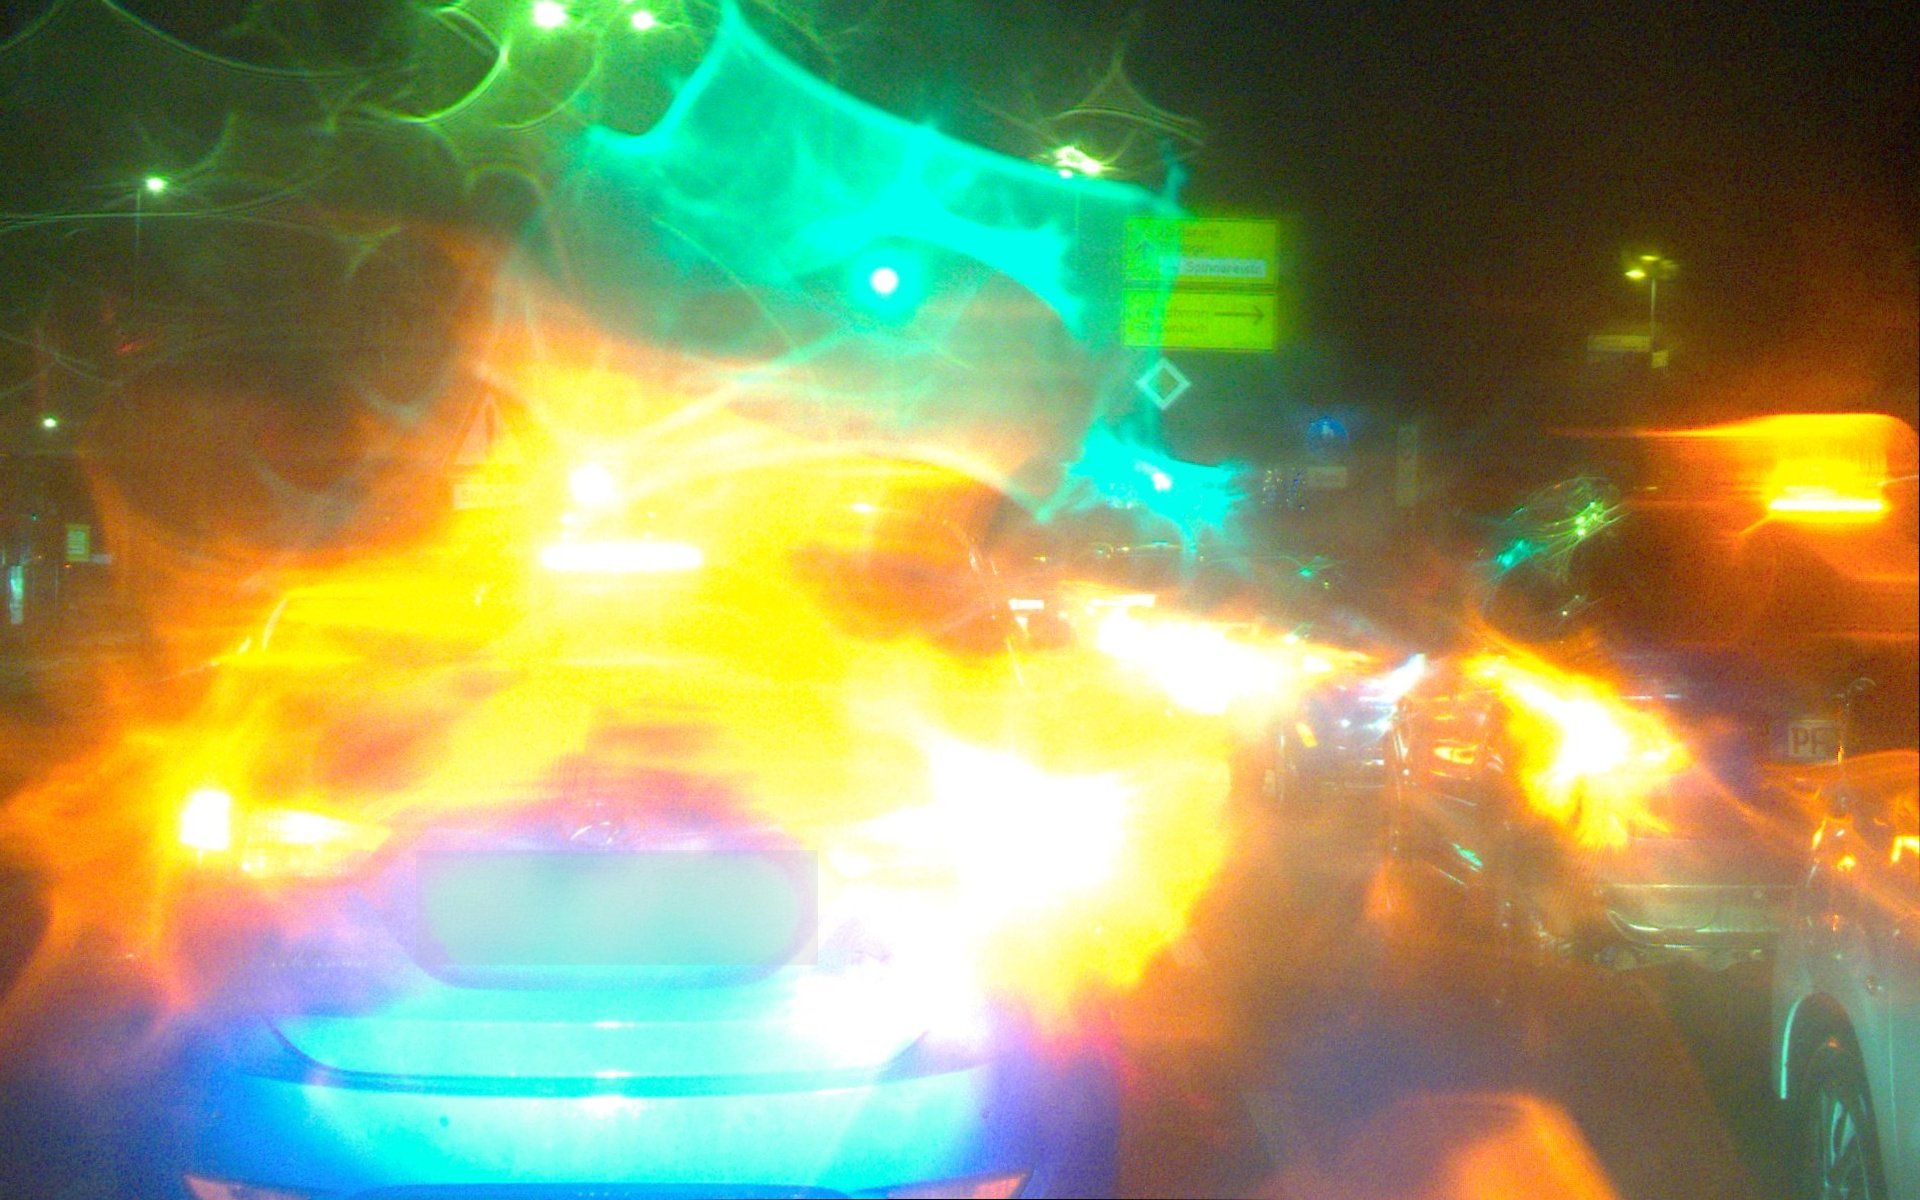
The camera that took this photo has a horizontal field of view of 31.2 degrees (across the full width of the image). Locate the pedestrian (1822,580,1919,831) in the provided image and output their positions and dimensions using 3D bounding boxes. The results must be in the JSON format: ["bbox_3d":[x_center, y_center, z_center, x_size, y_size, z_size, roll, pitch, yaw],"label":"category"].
[{"bbox_3d":[6.307,0.715,23.561,0.622,1.696,0.541,1,0,-3],"label":"pedestrian"}]

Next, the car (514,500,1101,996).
[{"bbox_3d":[-0.549,0.491,13.840,1.993,1.678,4.000,1,1,-1],"label":"car"}]

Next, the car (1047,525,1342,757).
[{"bbox_3d":[1.767,0.283,27.158,1.993,1.664,4.000,1,1,-1],"label":"car"}]

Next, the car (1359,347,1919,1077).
[{"bbox_3d":[2.611,0.305,11.683,1.968,2.040,4.000,1,0,-1],"label":"car"}]

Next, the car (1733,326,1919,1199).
[{"bbox_3d":[2.481,0.509,4.592,1.851,1.858,4.341,1,0,-1],"label":"car"}]

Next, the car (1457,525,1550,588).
[{"bbox_3d":[14.875,-1.187,94.217,1.865,1.641,3.963,-2,1,0],"label":"car"}]

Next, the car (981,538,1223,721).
[{"bbox_3d":[1.409,0.271,35.786,1.993,1.767,4.001,1,0,-5],"label":"car"}]

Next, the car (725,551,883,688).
[{"bbox_3d":[-2.227,0.240,48.116,1.993,1.818,4.001,1,0,-5],"label":"car"}]

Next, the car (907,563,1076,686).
[{"bbox_3d":[0.374,0.292,45.502,1.857,1.539,3.931,1,1,-5],"label":"car"}]

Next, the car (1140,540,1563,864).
[{"bbox_3d":[2.210,0.530,20.483,1.993,1.712,4.000,1,0,-1],"label":"car"}]

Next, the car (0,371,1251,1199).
[{"bbox_3d":[-0.610,0.488,7.676,2.014,1.711,4.452,1,1,-1],"label":"car"}]
